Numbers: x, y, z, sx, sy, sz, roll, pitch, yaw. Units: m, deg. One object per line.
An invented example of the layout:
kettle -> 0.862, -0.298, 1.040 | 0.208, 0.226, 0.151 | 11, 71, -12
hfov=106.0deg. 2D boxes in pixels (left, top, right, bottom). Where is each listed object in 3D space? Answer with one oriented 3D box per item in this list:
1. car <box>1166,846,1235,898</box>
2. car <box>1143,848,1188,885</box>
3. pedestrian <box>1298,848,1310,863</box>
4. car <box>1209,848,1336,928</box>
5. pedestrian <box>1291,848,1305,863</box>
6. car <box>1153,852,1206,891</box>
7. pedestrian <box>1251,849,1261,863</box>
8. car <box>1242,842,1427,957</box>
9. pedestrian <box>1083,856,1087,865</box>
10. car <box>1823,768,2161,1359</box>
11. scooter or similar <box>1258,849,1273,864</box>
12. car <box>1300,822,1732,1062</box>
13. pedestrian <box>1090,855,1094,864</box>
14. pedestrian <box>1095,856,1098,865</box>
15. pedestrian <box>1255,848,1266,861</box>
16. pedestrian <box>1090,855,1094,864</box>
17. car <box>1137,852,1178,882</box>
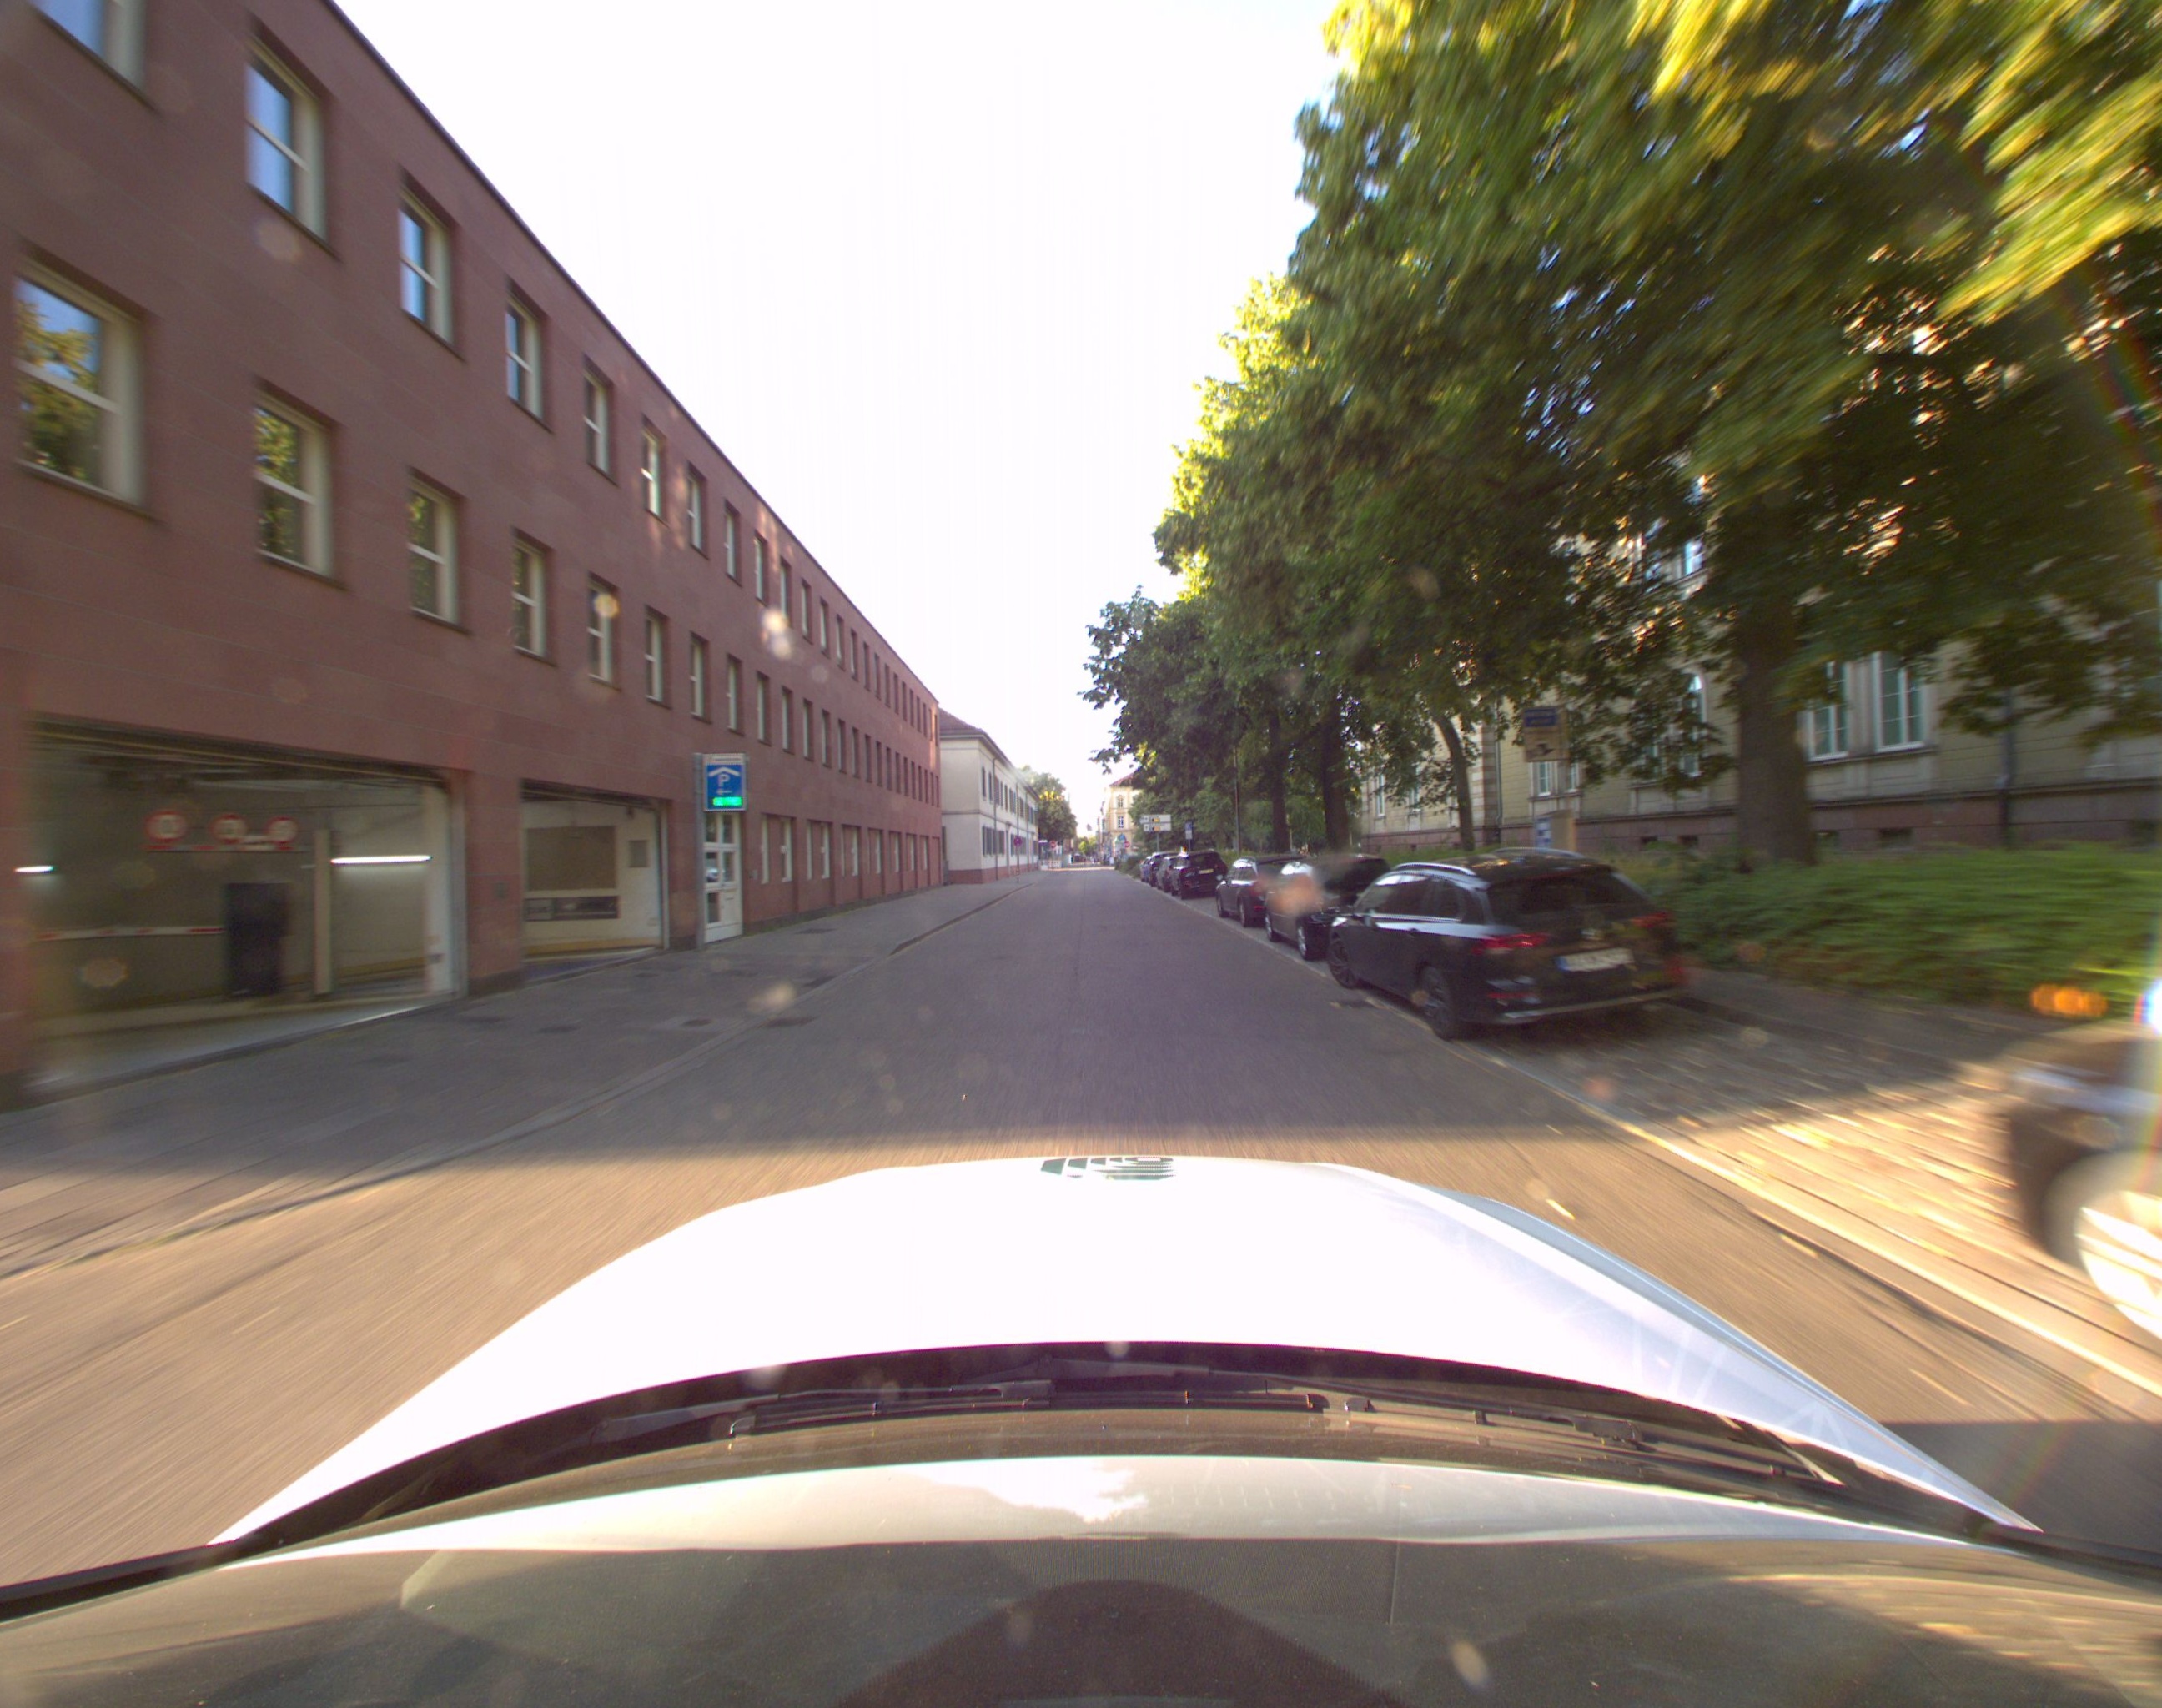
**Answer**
car -> 4.263, 0.642, 29.716 | 1.801, 1.651, 4.417 | -2, -1, 0
car -> 4.163, 0.622, 40.762 | 1.718, 1.651, 4.712 | -2, -1, 0
pedestrian -> 21.183, 0.135, 77.365 | 0.760, 1.347, 0.783 | -2, -1, -16
car -> 4.124, 0.706, 18.290 | 1.729, 1.506, 4.521 | -2, -1, 0
pedestrian -> 20.430, 0.125, 76.792 | 0.918, 1.347, 0.880 | -2, -1, -15
car -> 4.162, 0.744, 35.091 | 1.718, 1.538, 4.188 | -2, -1, 0
pedestrian -> 16.002, 0.161, 74.258 | 0.656, 1.191, 0.800 | -3, -1, 28
car -> 3.976, 0.669, 13.534 | 1.718, 1.533, 4.188 | -2, -1, 0
pedestrian -> 0.804, 1.177, 153.388 | 0.655, 1.760, 0.745 | -2, -1, 1
car -> 3.906, 0.545, 1.060 | 1.718, 1.682, 4.498 | -2, -1, 0
scooter or similar -> 16.816, 0.233, 74.278 | 1.219, 1.245, 0.416 | -2, -1, -16
car -> 3.750, 0.669, 8.169 | 1.719, 1.533, 4.622 | -6, -1, 0
pedestrian -> 2.109, 1.074, 151.400 | 0.655, 1.617, 0.745 | -2, -1, 0
pedestrian -> 2.866, 1.144, 151.397 | 0.655, 1.617, 0.745 | -2, -1, 0
pedestrian -> 16.555, 0.050, 75.169 | 0.803, 1.191, 0.790 | -2, -1, 3
pedestrian -> 2.030, 0.969, 153.305 | 0.655, 1.636, 0.745 | -2, -1, 0
car -> 4.335, 0.749, 46.826 | 1.719, 1.488, 4.608 | -5, 0, -1
